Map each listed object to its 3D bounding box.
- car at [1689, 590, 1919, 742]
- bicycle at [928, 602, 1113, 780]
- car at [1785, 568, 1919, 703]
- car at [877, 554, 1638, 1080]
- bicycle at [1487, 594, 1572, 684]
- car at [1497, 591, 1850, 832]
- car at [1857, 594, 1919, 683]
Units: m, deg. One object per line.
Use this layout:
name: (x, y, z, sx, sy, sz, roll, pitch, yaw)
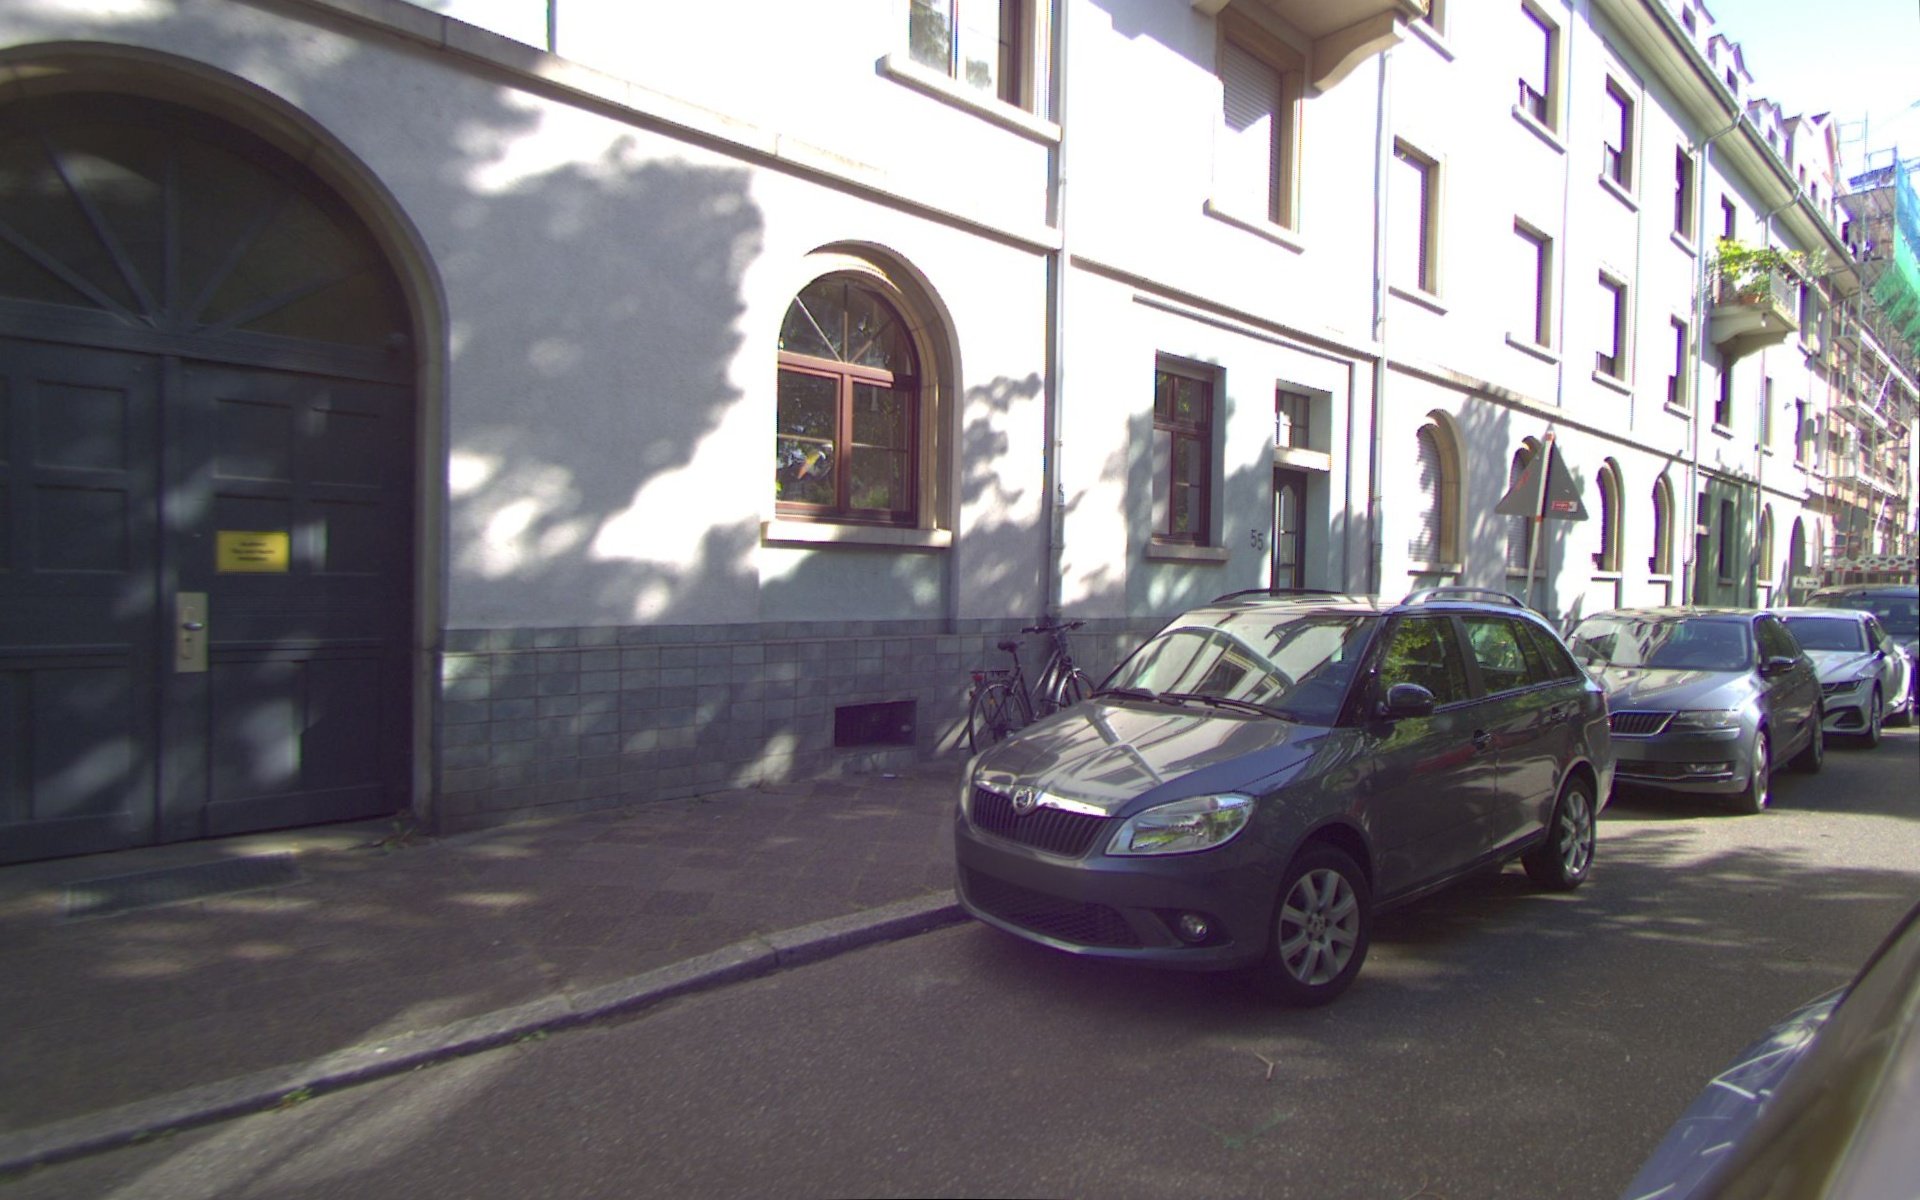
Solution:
car: (10.227, 0.634, 11.993, 4.489, 1.437, 1.610, 0, 2, -42)
bicycle: (0.517, 0.628, 7.781, 0.406, 1.201, 1.821, 1, 1, 40)
car: (14.132, 0.464, 15.427, 3.921, 1.816, 1.774, 0, 2, -42)
car: (1.682, 0.631, 4.902, 3.969, 1.570, 1.584, 0, 1, -39)
bicycle: (8.041, 0.517, 14.254, 1.948, 1.196, 0.395, 0, 1, -40)
car: (6.084, 0.709, 8.452, 3.899, 1.511, 1.601, 0, 2, -43)
car: (18.414, 0.688, 19.037, 4.208, 1.530, 1.708, 0, 2, -40)
